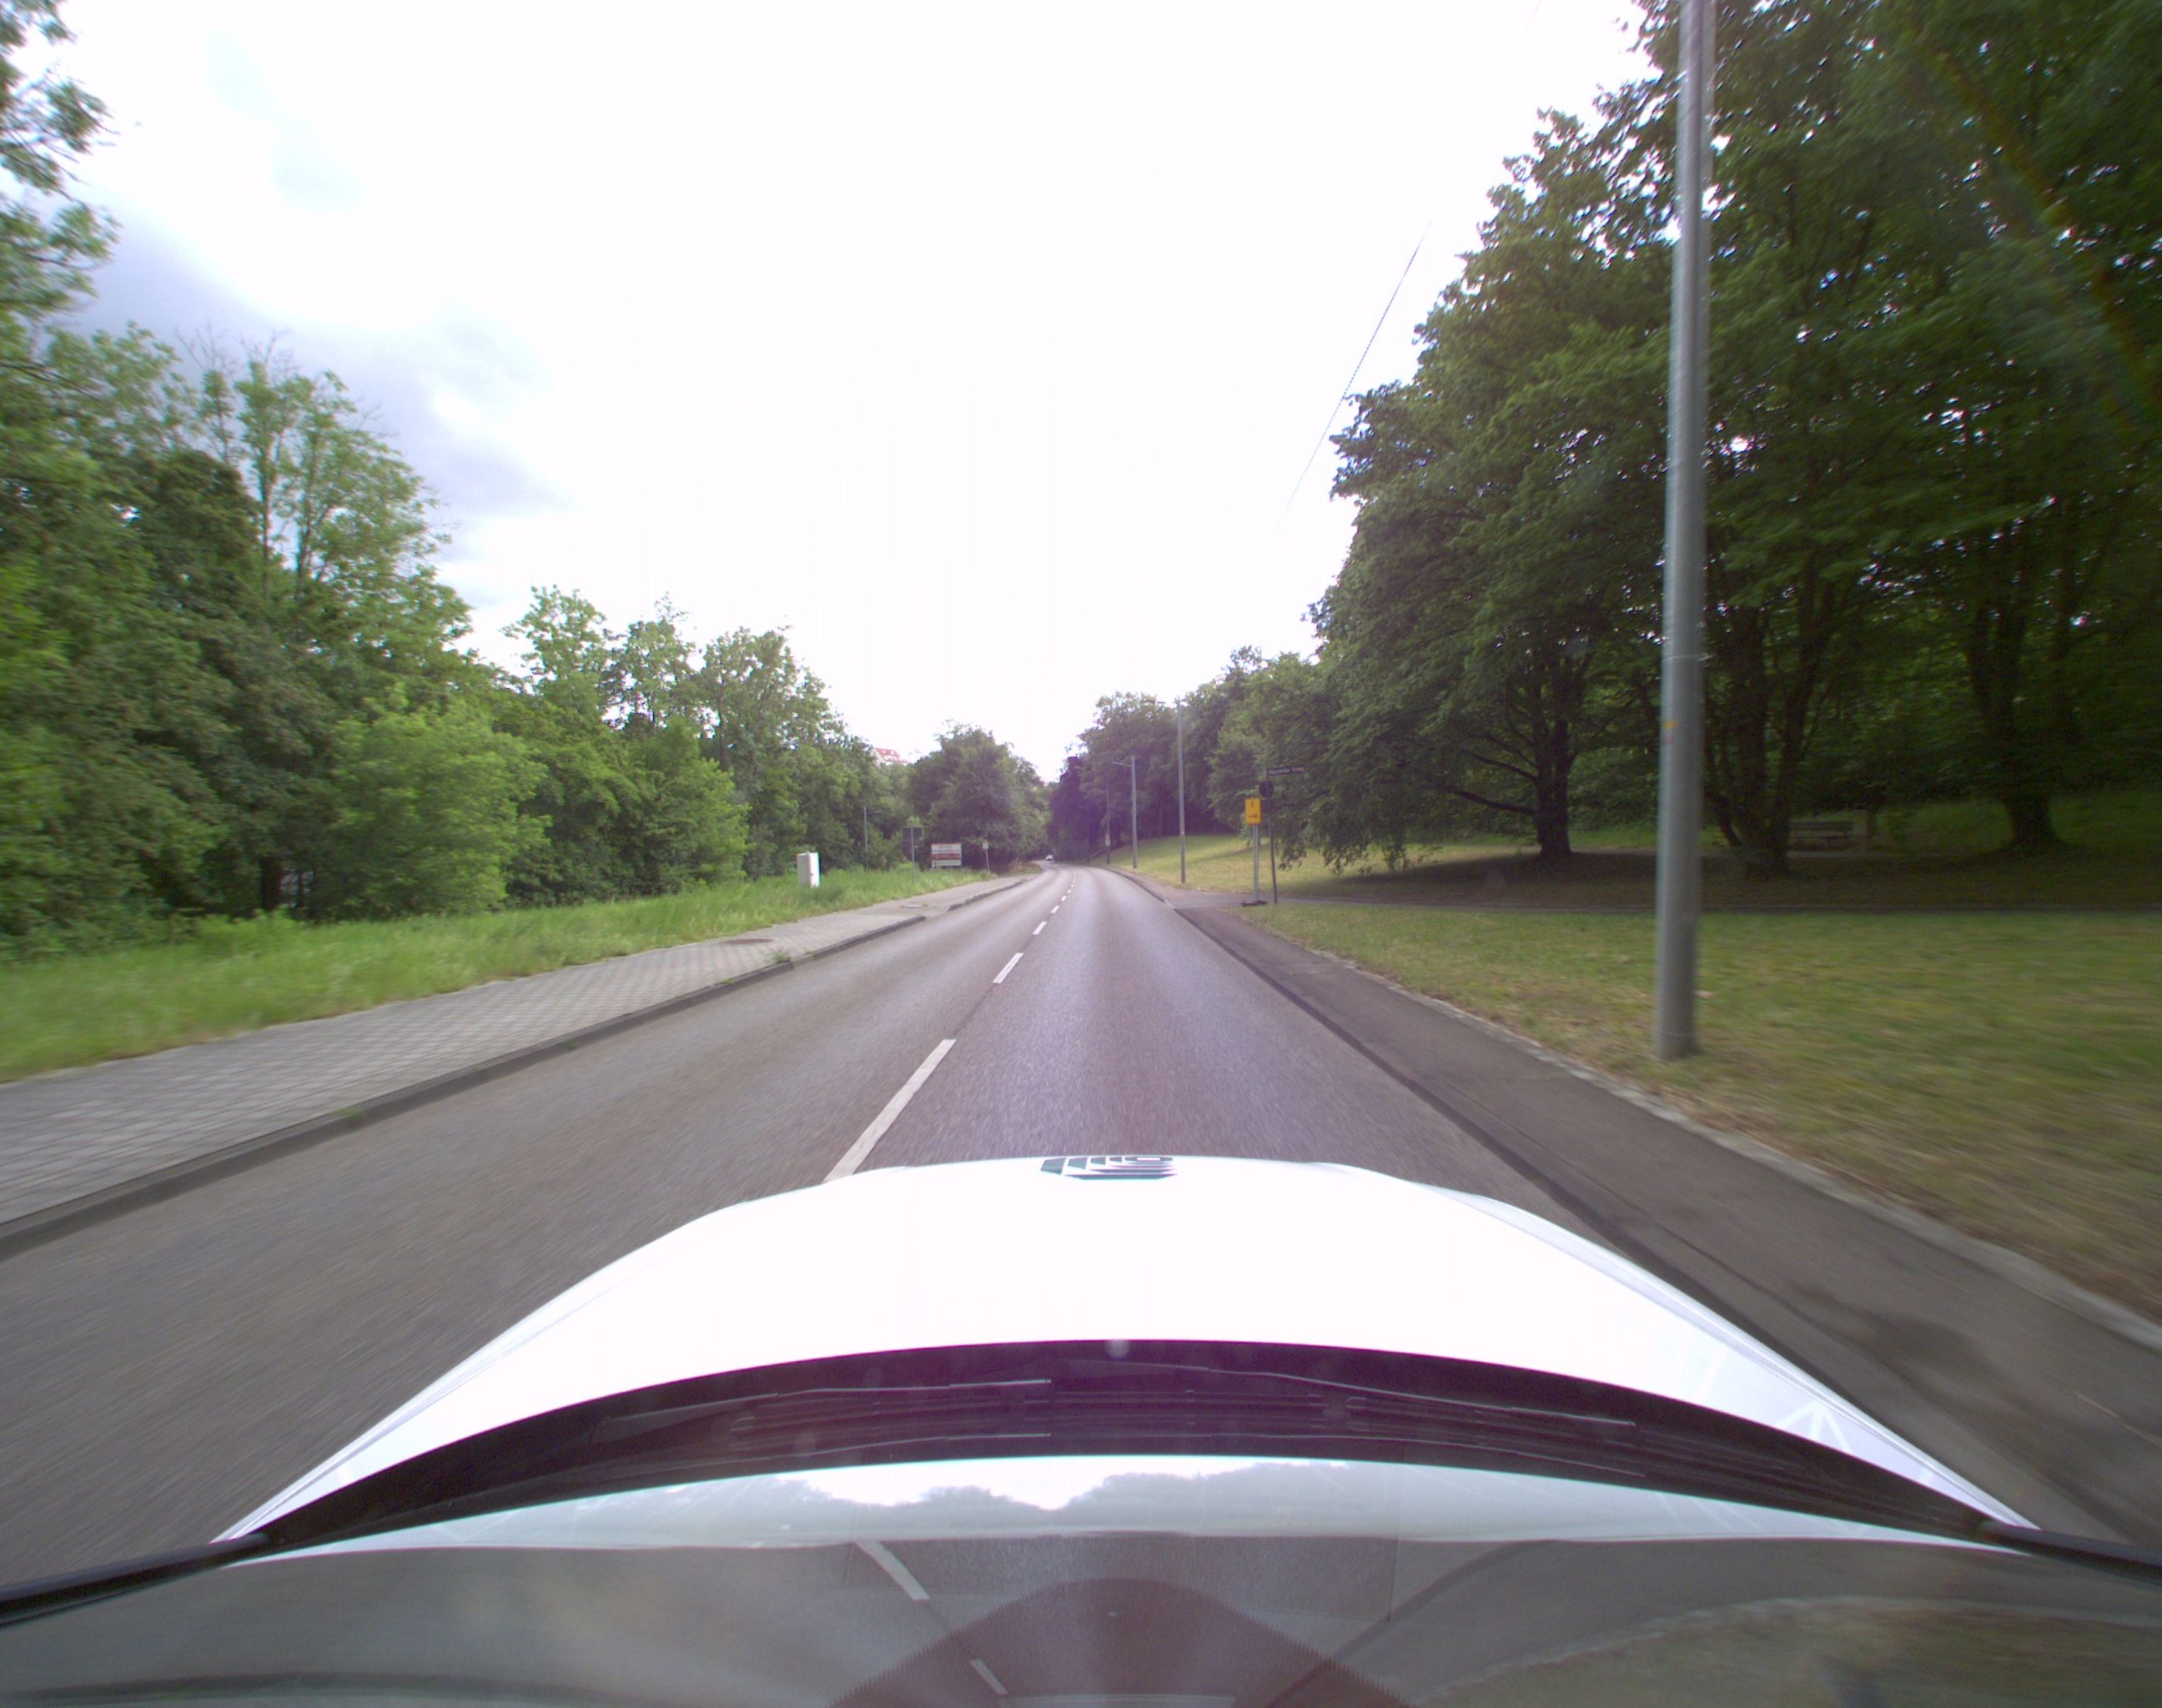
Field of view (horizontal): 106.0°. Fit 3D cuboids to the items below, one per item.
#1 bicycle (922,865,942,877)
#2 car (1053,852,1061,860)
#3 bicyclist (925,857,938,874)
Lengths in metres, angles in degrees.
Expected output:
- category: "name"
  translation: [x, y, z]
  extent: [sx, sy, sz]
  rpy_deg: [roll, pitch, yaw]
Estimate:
- category: "bicycle"
  translation: [-12.991, 1.496, 70.936]
  extent: [0.834, 1.036, 2.418]
  rpy_deg: [0, -1, -32]
- category: "car"
  translation: [-6.580, 0.618, 224.350]
  extent: [1.985, 2.014, 4.004]
  rpy_deg: [-1, -1, 4]
- category: "bicyclist"
  translation: [-13.045, 0.985, 71.027]
  extent: [0.832, 1.427, 0.773]
  rpy_deg: [-1, -1, -32]
